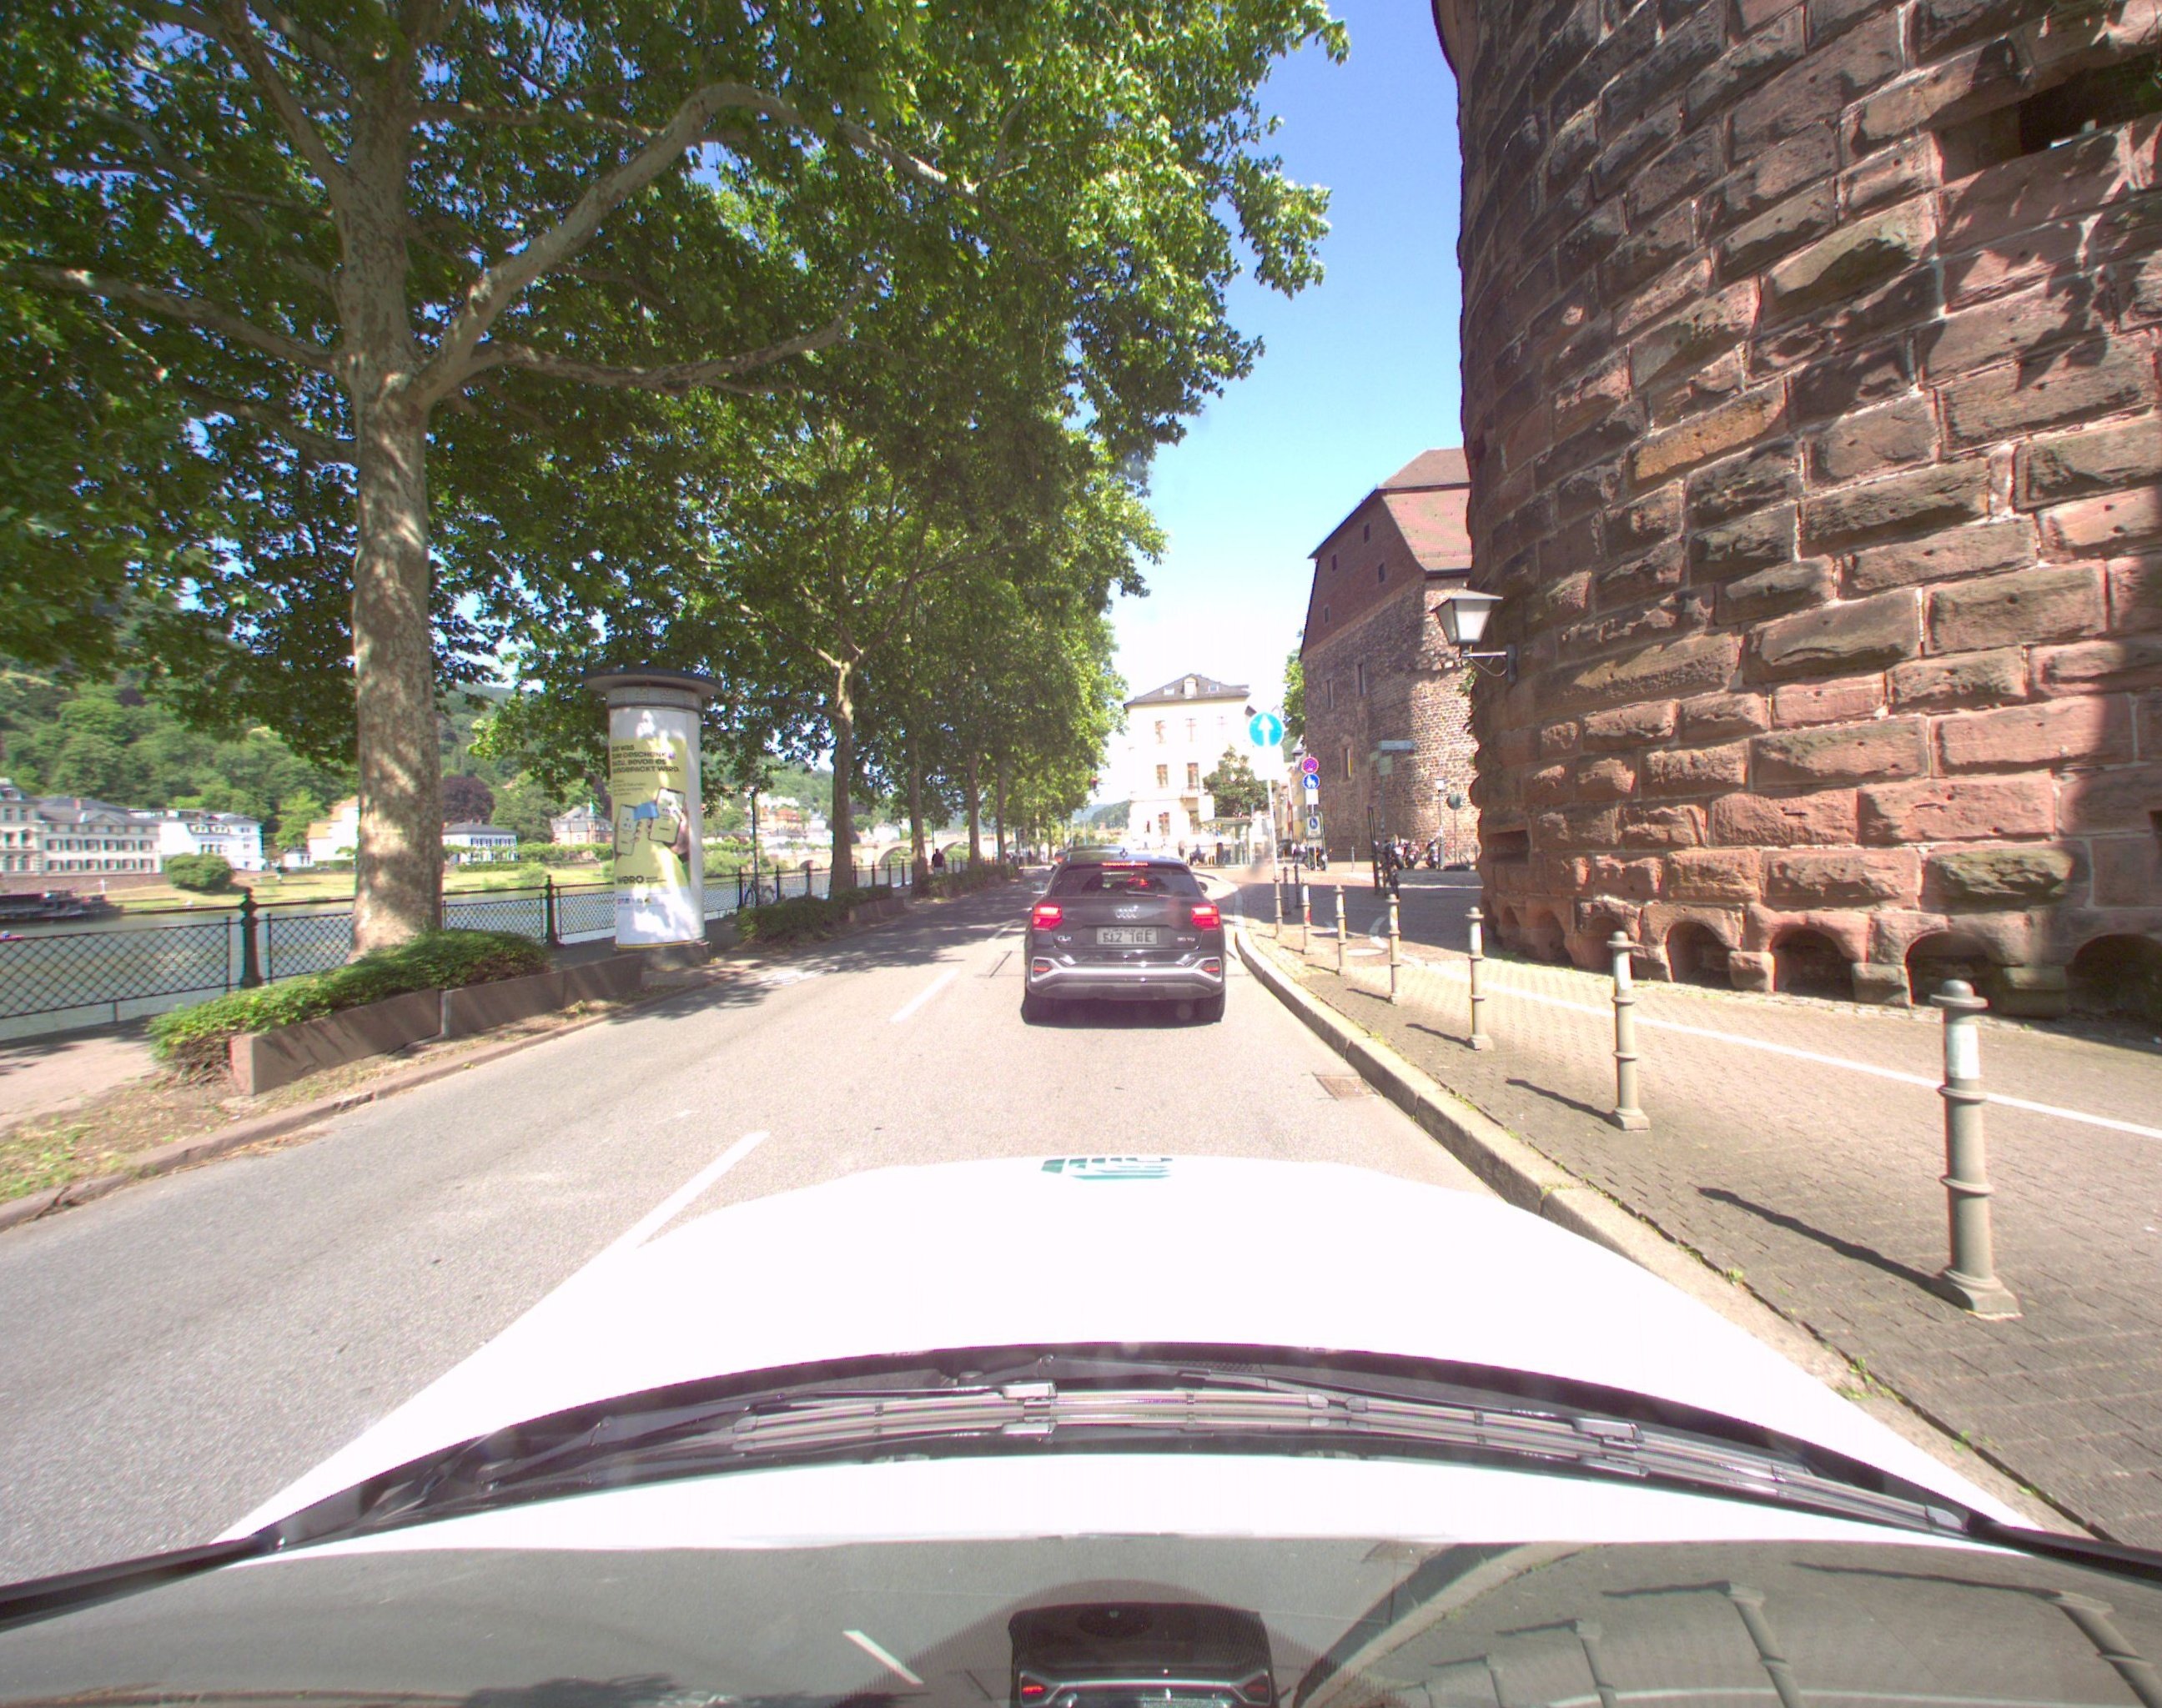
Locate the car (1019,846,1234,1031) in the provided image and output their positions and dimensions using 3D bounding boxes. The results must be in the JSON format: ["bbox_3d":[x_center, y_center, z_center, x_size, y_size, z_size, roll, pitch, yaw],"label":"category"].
[{"bbox_3d":[0.400,0.682,8.459,1.742,1.494,3.629,-1,0,1],"label":"car"}]

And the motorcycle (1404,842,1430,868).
[{"bbox_3d":[12.918,0.030,31.339,0.456,0.973,1.467,0,0,2],"label":"motorcycle"}]

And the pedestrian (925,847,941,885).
[{"bbox_3d":[-6.866,0.555,37.832,0.562,1.741,0.665,-2,0,-1],"label":"pedestrian"}]

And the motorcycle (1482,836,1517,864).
[{"bbox_3d":[15.775,-0.143,30.731,0.496,1.019,1.702,0,0,2],"label":"motorcycle"}]

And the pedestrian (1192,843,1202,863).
[{"bbox_3d":[7.098,-0.078,49.926,0.544,1.201,0.523,0,0,3],"label":"pedestrian"}]

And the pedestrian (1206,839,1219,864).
[{"bbox_3d":[8.355,-0.172,51.944,0.744,1.557,0.589,-1,0,2],"label":"pedestrian"}]

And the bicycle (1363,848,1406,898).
[{"bbox_3d":[6.851,0.410,18.464,0.493,1.030,2.056,-4,-1,10],"label":"bicycle"}]

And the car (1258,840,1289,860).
[{"bbox_3d":[17.447,-0.361,73.885,1.986,1.716,4.002,0,0,2],"label":"car"}]

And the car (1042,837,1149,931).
[{"bbox_3d":[0.314,0.504,15.457,1.794,1.562,3.718,0,0,2],"label":"car"}]

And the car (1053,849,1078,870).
[{"bbox_3d":[-1.188,0.381,64.280,1.608,1.523,3.480,-3,0,4],"label":"car"}]

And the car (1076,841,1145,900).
[{"bbox_3d":[0.883,0.437,23.964,1.794,1.523,3.718,-3,0,2],"label":"car"}]

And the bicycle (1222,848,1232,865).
[{"bbox_3d":[8.736,0.139,48.743,0.449,0.974,1.400,0,0,2],"label":"bicycle"}]

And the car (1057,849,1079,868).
[{"bbox_3d":[-1.139,0.383,71.765,1.608,1.523,3.480,-3,0,4],"label":"car"}]

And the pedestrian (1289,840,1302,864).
[{"bbox_3d":[13.091,-0.111,49.646,0.655,1.493,0.548,0,0,3],"label":"pedestrian"}]

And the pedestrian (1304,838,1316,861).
[{"bbox_3d":[14.901,-0.306,53.012,0.655,1.517,0.548,0,0,3],"label":"pedestrian"}]

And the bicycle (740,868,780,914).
[{"bbox_3d":[-8.847,1.002,22.509,0.356,1.162,1.825,-3,0,-1],"label":"bicycle"}]

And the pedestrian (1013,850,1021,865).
[{"bbox_3d":[-5.456,0.284,69.582,0.588,1.278,0.525,0,0,2],"label":"pedestrian"}]

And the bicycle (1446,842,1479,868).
[{"bbox_3d":[14.482,0.039,30.961,0.402,0.989,1.825,0,0,-1],"label":"bicycle"}]

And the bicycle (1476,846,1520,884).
[{"bbox_3d":[11.729,0.295,22.957,0.493,1.030,2.056,0,0,10],"label":"bicycle"}]

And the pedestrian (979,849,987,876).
[{"bbox_3d":[-7.267,0.604,60.281,0.499,1.958,0.438,-1,0,-6],"label":"pedestrian"}]

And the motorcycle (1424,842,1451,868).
[{"bbox_3d":[13.763,0.028,31.462,0.456,0.973,1.467,0,0,2],"label":"motorcycle"}]

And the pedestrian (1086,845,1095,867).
[{"bbox_3d":[0.677,0.124,58.386,0.555,1.557,0.660,-1,0,3],"label":"pedestrian"}]

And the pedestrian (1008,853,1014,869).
[{"bbox_3d":[-6.219,0.638,72.338,0.407,1.425,0.457,0,0,0],"label":"pedestrian"}]

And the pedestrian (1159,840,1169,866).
[{"bbox_3d":[5.107,-0.077,49.870,0.555,1.557,0.660,-1,0,3],"label":"pedestrian"}]

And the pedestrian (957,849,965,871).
[{"bbox_3d":[-8.157,0.402,55.212,0.496,1.537,0.678,0,0,-5],"label":"pedestrian"}]

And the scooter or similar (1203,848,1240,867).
[{"bbox_3d":[7.146,0.156,41.415,1.838,0.963,0.429,0,0,1],"label":"scooter or similar"}]

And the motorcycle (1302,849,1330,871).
[{"bbox_3d":[9.195,0.210,31.882,0.481,0.818,2.281,-3,0,2],"label":"motorcycle"}]

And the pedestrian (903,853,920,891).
[{"bbox_3d":[-7.727,0.798,37.053,0.643,1.717,0.665,0,0,-1],"label":"pedestrian"}]

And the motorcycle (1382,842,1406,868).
[{"bbox_3d":[12.068,0.033,31.428,0.434,0.973,1.359,0,0,2],"label":"motorcycle"}]

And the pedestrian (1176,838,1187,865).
[{"bbox_3d":[6.191,-0.167,50.172,0.555,1.633,0.660,-1,0,3],"label":"pedestrian"}]

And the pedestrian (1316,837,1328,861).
[{"bbox_3d":[15.659,-0.309,52.964,0.655,1.517,0.627,0,0,3],"label":"pedestrian"}]
